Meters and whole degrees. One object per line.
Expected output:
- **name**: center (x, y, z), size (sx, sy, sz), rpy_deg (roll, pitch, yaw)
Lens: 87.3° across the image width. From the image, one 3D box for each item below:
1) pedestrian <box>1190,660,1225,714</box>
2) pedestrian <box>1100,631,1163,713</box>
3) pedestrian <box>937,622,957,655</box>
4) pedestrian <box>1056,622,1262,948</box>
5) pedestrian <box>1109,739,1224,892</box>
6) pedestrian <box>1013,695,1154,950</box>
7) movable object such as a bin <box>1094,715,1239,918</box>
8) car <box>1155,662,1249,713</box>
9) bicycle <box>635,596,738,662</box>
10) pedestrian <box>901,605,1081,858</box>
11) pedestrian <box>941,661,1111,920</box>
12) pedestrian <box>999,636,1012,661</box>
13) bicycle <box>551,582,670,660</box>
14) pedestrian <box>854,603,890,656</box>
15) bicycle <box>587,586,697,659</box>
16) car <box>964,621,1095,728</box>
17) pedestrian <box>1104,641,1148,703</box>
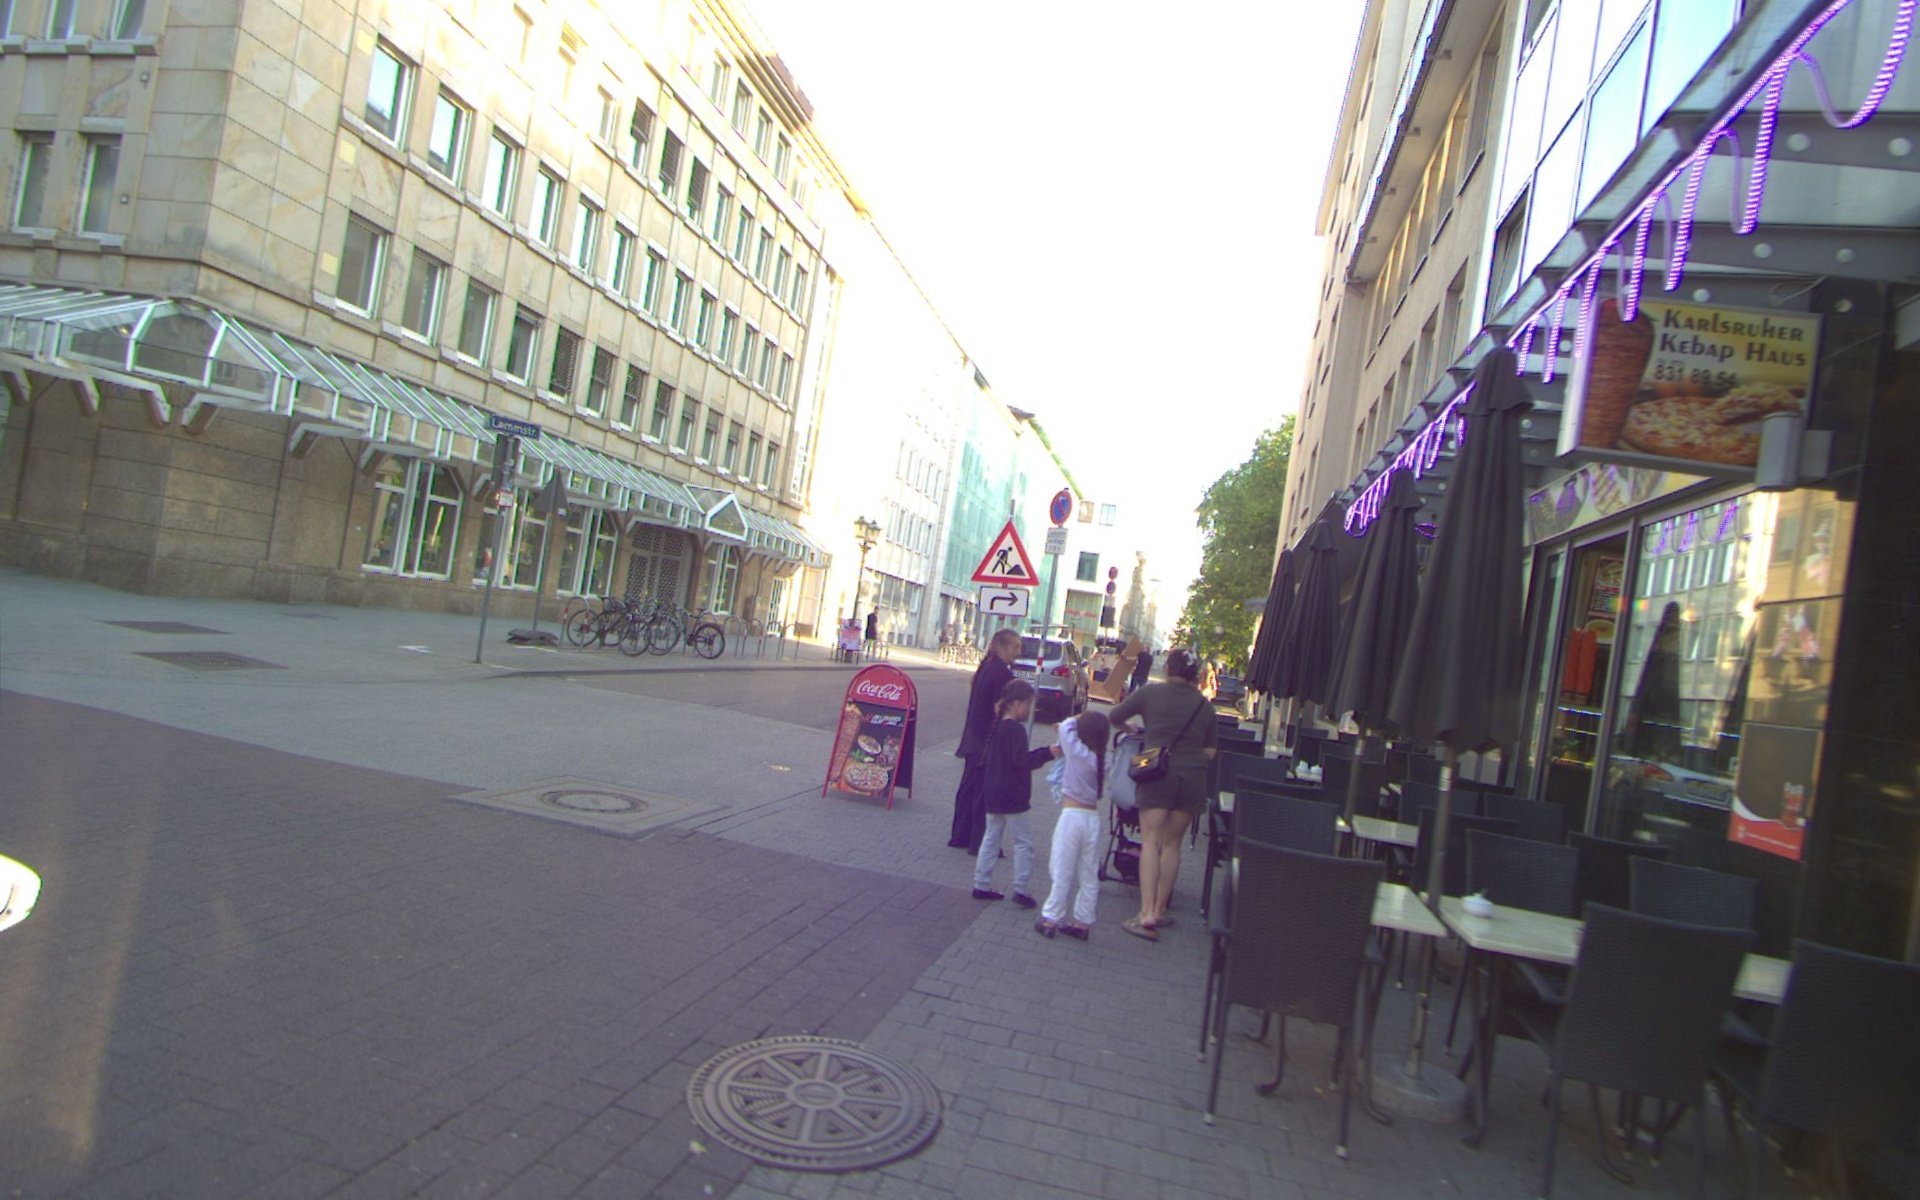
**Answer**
- **pedestrian**: center (8.633, 3.028, 35.049), size (0.925, 1.724, 0.892), rpy_deg (9, -1, 17)
- **pedestrian**: center (4.477, 1.869, 26.342), size (1.200, 1.960, 0.891), rpy_deg (9, -1, -2)
- **pedestrian**: center (-0.664, 2.002, 52.266), size (0.649, 1.591, 0.730), rpy_deg (8, 0, 14)
- **pedestrian**: center (1.105, 0.967, 5.528), size (0.780, 1.553, 0.621), rpy_deg (9, 0, 24)
- **pedestrian**: center (1.304, 1.326, 6.313), size (0.502, 0.801, 0.550), rpy_deg (8, -1, 23)
- **pedestrian**: center (0.605, 1.088, 5.028), size (0.404, 1.137, 0.472), rpy_deg (9, 0, -12)
- **movable object such as a bin**: center (1.288, 1.287, 6.197), size (0.578, 1.049, 0.799), rpy_deg (9, -1, 24)
- **car**: center (11.007, 3.931, 45.692), size (3.900, 1.635, 1.854), rpy_deg (9, -1, 17)
- **bicycle**: center (-5.657, 0.597, 20.847), size (1.912, 1.040, 0.514), rpy_deg (9, 0, 12)
- **pedestrian**: center (0.202, 0.875, 6.799), size (0.712, 1.548, 0.716), rpy_deg (9, -1, -37)
- **pedestrian**: center (0.347, 1.024, 5.542), size (0.508, 1.261, 0.661), rpy_deg (9, -1, -24)
- **pedestrian**: center (2.400, 2.565, 53.340), size (0.441, 1.268, 0.471), rpy_deg (8, 0, 14)
- **bicycle**: center (-6.345, 0.380, 18.261), size (1.912, 1.063, 0.545), rpy_deg (10, 0, 14)
- **pedestrian**: center (-3.107, 1.069, 35.636), size (0.758, 1.751, 0.916), rpy_deg (8, 0, 14)
- **bicycle**: center (-6.157, 0.443, 19.456), size (1.912, 1.063, 0.545), rpy_deg (10, 0, 16)
- **car**: center (1.466, 1.419, 19.582), size (1.771, 1.607, 3.944), rpy_deg (9, -1, 13)
- **pedestrian**: center (5.032, 2.170, 30.520), size (0.925, 1.724, 0.891), rpy_deg (9, -1, -1)
